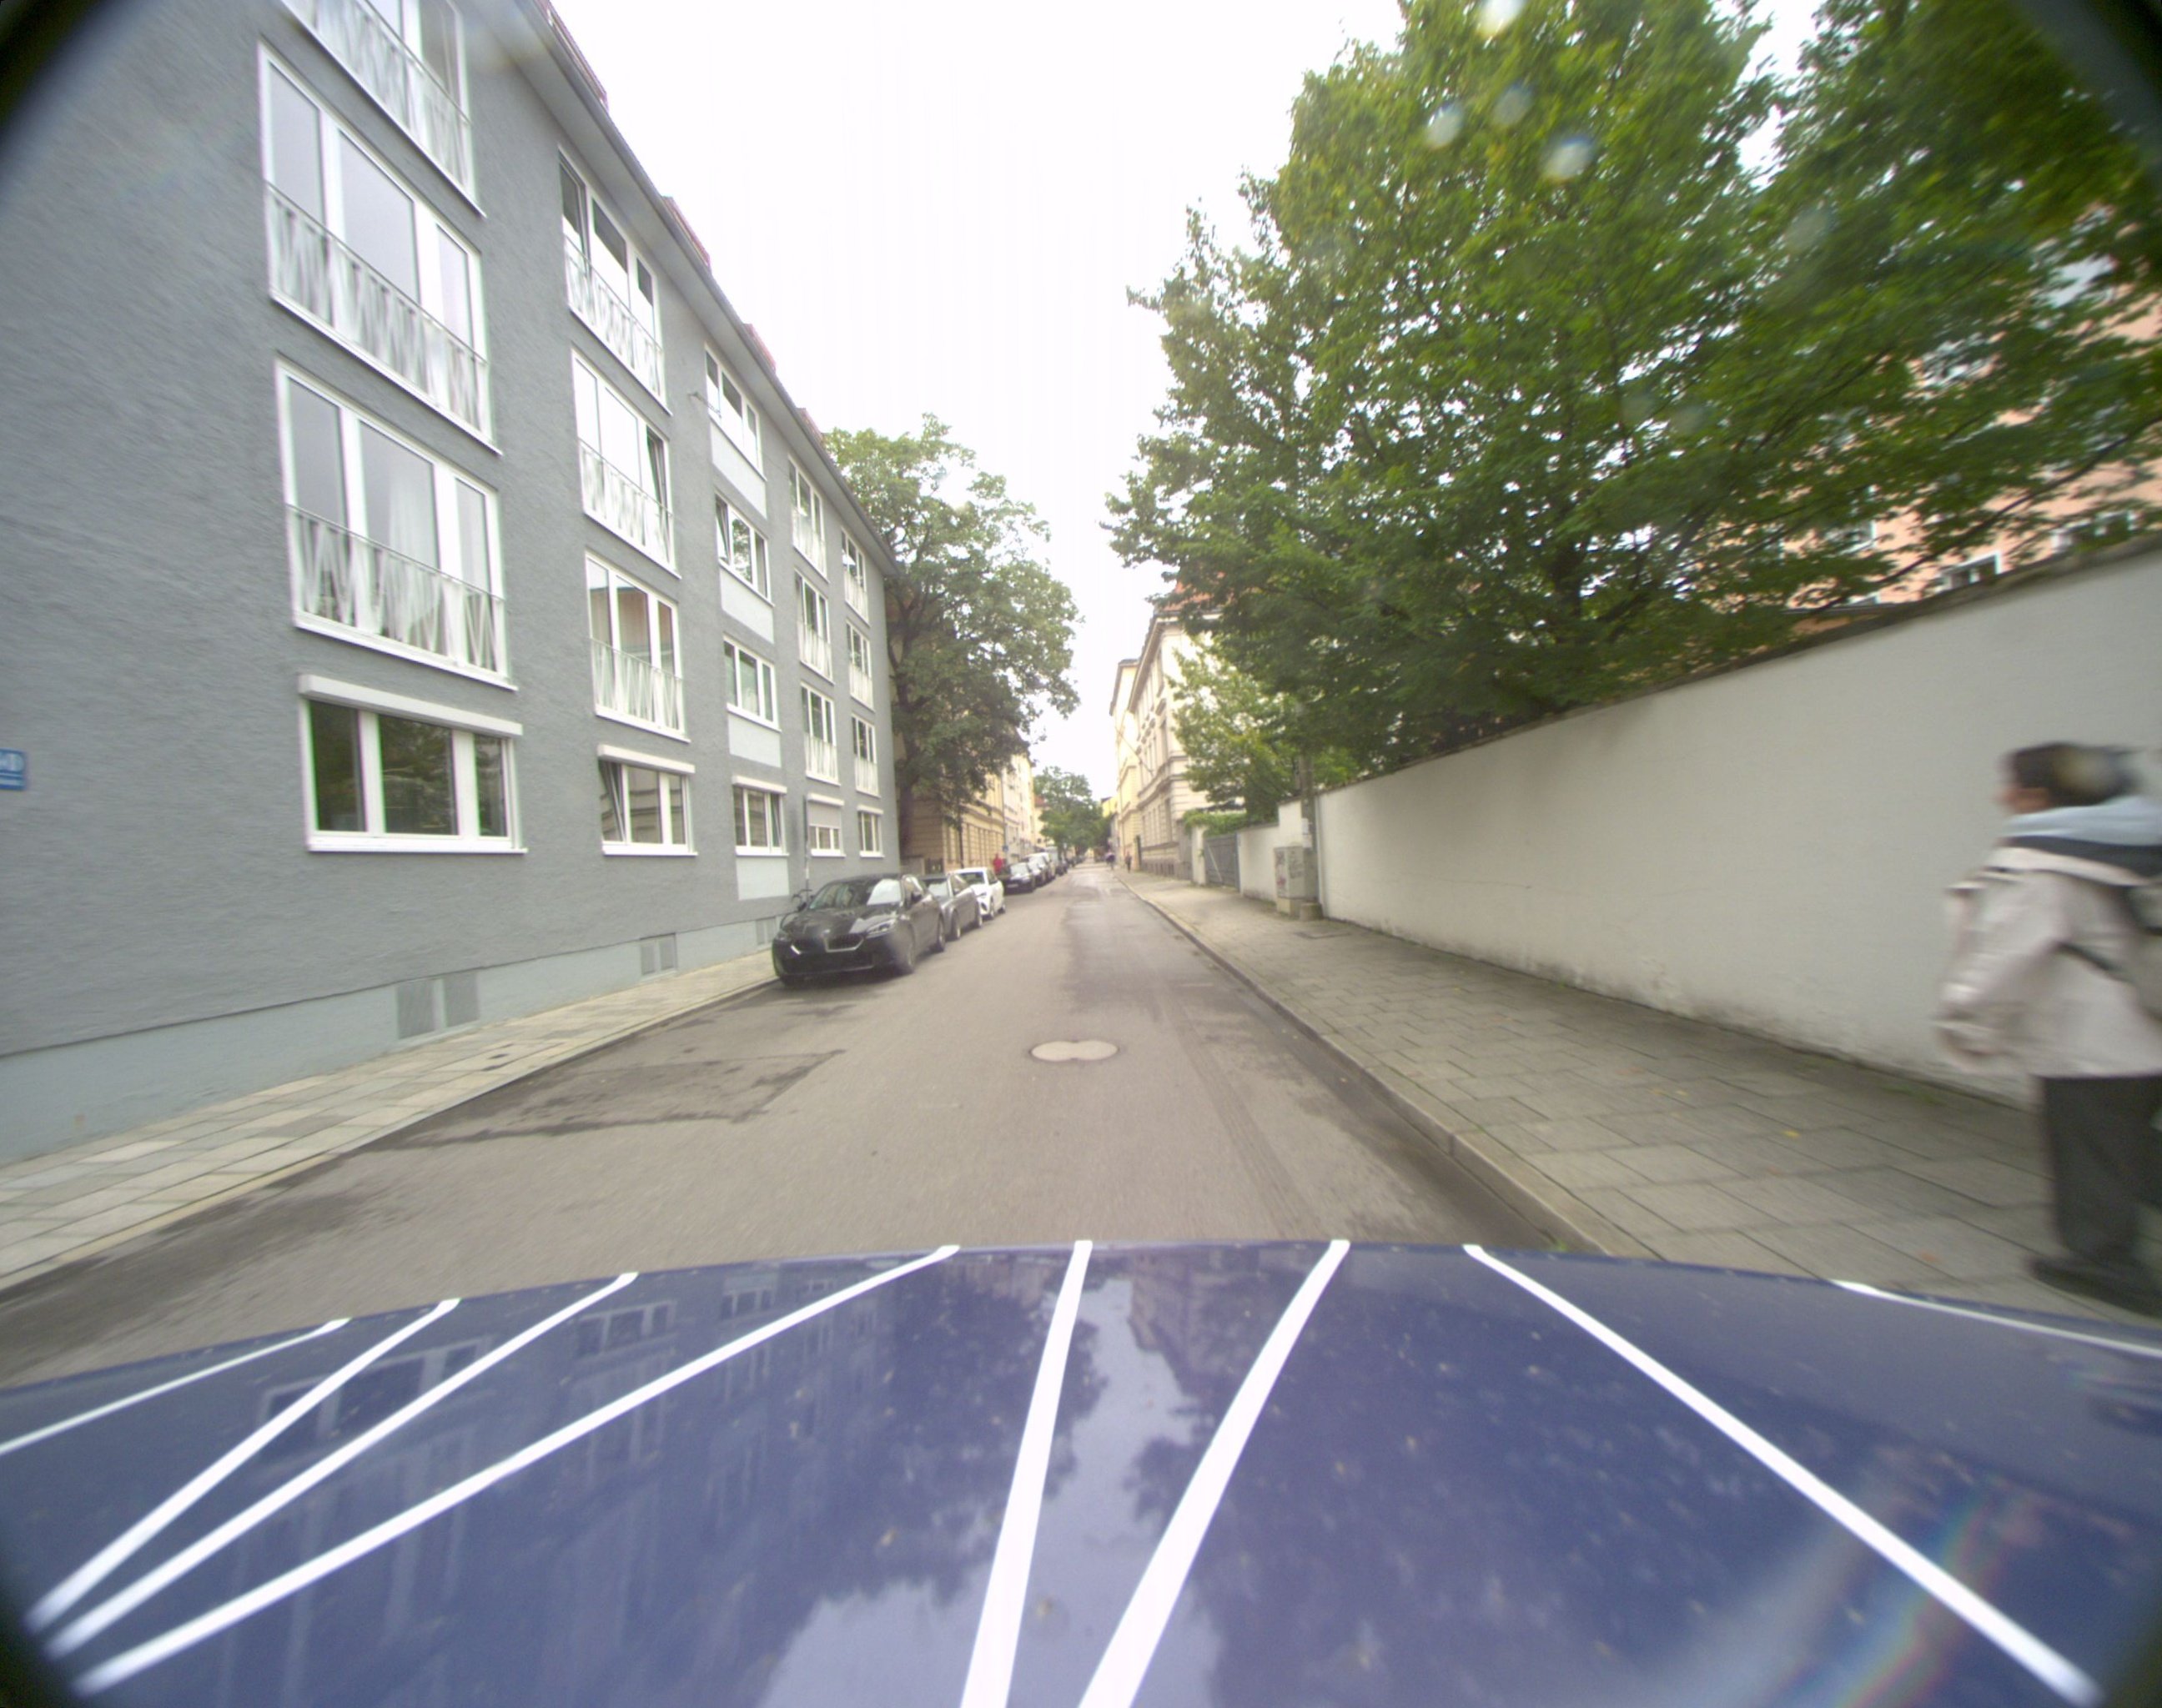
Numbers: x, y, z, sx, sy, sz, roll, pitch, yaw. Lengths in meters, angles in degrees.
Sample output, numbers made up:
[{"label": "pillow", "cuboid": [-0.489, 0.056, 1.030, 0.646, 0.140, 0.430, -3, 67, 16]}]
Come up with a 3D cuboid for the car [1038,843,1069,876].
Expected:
[{"label": "car", "cuboid": [-2.332, 0.443, 65.934, 2.014, 2.479, 5.090, -7, 0, 2]}]

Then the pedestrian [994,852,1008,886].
[{"label": "pedestrian", "cuboid": [-4.687, 0.890, 44.552, 0.581, 1.966, 0.455, -4, 1, 1]}]

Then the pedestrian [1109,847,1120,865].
[{"label": "pedestrian", "cuboid": [3.317, 0.194, 75.644, 0.920, 1.742, 1.066, -3, 1, 0]}]

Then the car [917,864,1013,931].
[{"label": "car", "cuboid": [-3.167, 1.144, 21.646, 1.773, 1.437, 4.344, -7, 0, 2]}]

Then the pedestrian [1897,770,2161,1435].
[{"label": "pedestrian", "cuboid": [2.820, 0.572, 1.940, 0.624, 1.570, 0.714, -5, 1, 1]}]

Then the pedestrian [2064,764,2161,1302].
[{"label": "pedestrian", "cuboid": [3.476, 0.521, 2.057, 0.615, 1.612, 0.687, -6, 1, 1]}]

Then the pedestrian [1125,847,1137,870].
[{"label": "pedestrian", "cuboid": [3.851, 0.361, 58.980, 0.766, 1.742, 0.970, -3, 1, 0]}]

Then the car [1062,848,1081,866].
[{"label": "car", "cuboid": [-1.346, 0.368, 108.962, 2.242, 2.247, 5.090, -7, 0, 2]}]

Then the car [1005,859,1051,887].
[{"label": "car", "cuboid": [-2.808, 0.988, 41.500, 1.998, 1.306, 4.593, -3, 0, 2]}]

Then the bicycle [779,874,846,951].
[{"label": "bicycle", "cuboid": [-5.882, 1.231, 16.763, 0.515, 1.478, 2.279, -4, 0, 1]}]

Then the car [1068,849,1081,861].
[{"label": "car", "cuboid": [-1.244, 0.128, 143.171, 2.014, 1.969, 5.090, -7, 0, 2]}]

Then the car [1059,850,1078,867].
[{"label": "car", "cuboid": [-1.678, 0.593, 102.500, 2.014, 1.914, 5.090, -7, 0, 2]}]

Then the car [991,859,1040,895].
[{"label": "car", "cuboid": [-3.057, 1.043, 36.285, 1.860, 1.366, 4.509, -6, 1, -1]}]

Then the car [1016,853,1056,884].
[{"label": "car", "cuboid": [-2.689, 0.841, 46.813, 1.998, 1.677, 4.510, -3, 0, 2]}]

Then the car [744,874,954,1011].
[{"label": "car", "cuboid": [-3.290, 1.175, 11.756, 1.846, 1.420, 4.263, -7, 0, -1]}]

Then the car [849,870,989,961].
[{"label": "car", "cuboid": [-3.329, 1.208, 16.586, 1.794, 1.393, 4.485, -7, 0, 2]}]

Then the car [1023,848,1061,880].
[{"label": "car", "cuboid": [-2.666, 0.674, 52.833, 1.998, 2.002, 5.064, -3, 0, 3]}]

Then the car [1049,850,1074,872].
[{"label": "car", "cuboid": [-2.004, 0.660, 79.353, 2.014, 1.989, 5.090, -7, 0, 2]}]
